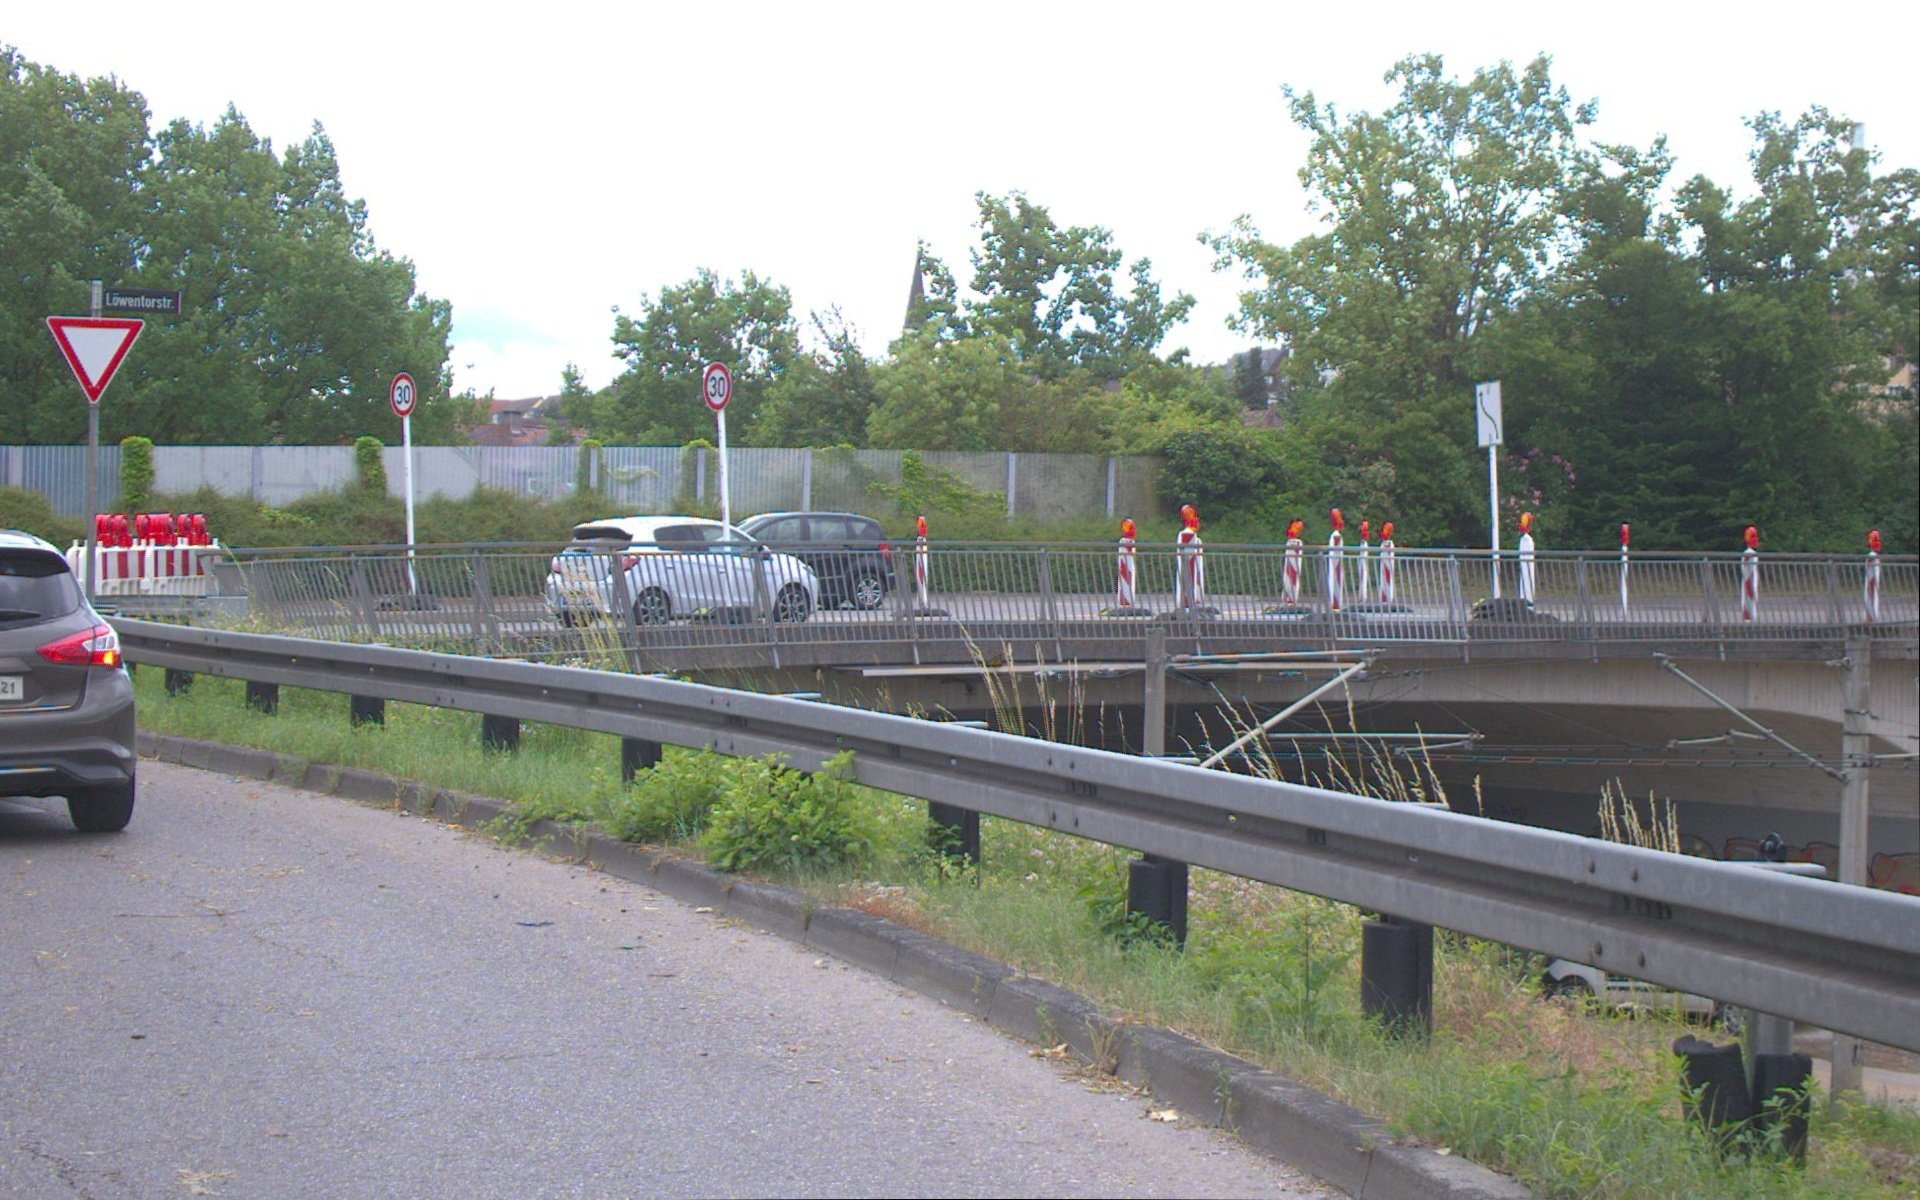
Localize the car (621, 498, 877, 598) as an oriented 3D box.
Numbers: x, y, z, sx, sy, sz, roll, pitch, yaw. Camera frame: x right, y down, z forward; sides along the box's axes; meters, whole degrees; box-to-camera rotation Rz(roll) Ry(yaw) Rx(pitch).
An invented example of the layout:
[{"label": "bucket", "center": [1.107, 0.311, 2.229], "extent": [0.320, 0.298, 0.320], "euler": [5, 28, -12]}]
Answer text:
[{"label": "car", "center": [-3.412, -0.830, 55.576], "extent": [3.775, 1.547, 1.643], "euler": [0, -1, -23]}]

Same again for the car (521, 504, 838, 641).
[{"label": "car", "center": [-3.598, -0.334, 44.660], "extent": [1.716, 1.669, 3.990], "euler": [1, 0, 42]}]

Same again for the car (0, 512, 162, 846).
[{"label": "car", "center": [-5.496, 0.334, 17.622], "extent": [1.797, 1.547, 4.001], "euler": [-1, 1, -27]}]

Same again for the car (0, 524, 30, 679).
[{"label": "car", "center": [-10.519, -0.027, 33.369], "extent": [1.819, 1.547, 3.788], "euler": [3, 0, 1]}]
